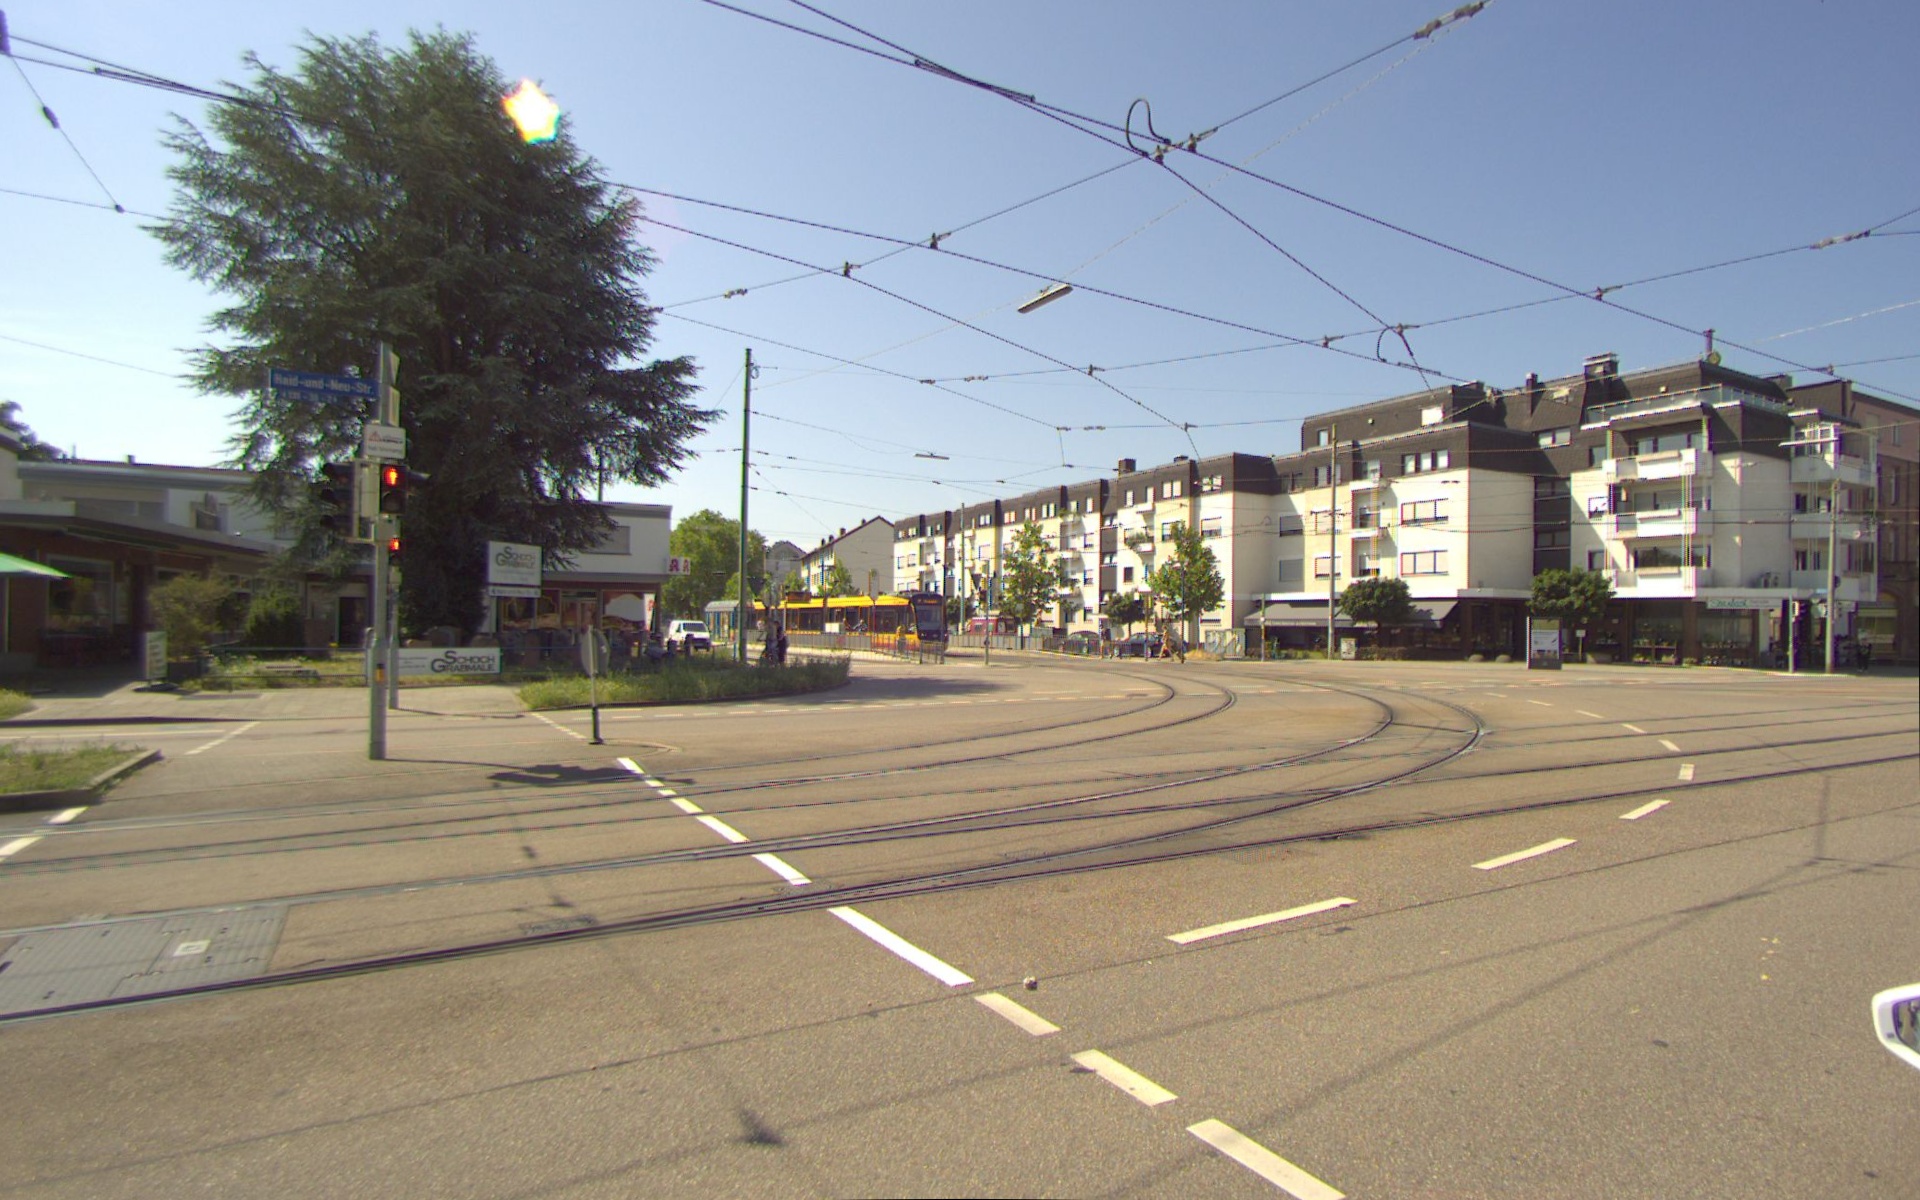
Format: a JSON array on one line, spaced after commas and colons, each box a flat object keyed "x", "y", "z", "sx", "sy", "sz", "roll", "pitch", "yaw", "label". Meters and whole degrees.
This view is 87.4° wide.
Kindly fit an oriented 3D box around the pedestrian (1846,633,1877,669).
[{"x": 42.904, "y": 2.411, "z": 47.829, "sx": 0.667, "sy": 1.669, "sz": 0.881, "roll": 0, "pitch": -1, "yaw": -2, "label": "pedestrian"}]

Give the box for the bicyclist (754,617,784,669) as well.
[{"x": -5.903, "y": 1.341, "z": 31.088, "sx": 0.619, "sy": 1.578, "sz": 0.766, "roll": -1, "pitch": -3, "yaw": 17, "label": "bicyclist"}]

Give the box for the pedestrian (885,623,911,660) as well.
[{"x": -3.118, "y": 2.080, "z": 50.639, "sx": 0.886, "sy": 1.862, "sz": 1.193, "roll": 1, "pitch": -2, "yaw": -29, "label": "pedestrian"}]

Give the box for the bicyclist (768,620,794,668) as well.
[{"x": -5.982, "y": 1.457, "z": 33.519, "sx": 0.619, "sy": 1.595, "sz": 0.766, "roll": 0, "pitch": -1, "yaw": 8, "label": "bicyclist"}]

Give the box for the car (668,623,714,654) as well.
[{"x": -16.993, "y": 2.392, "z": 63.388, "sx": 1.755, "sy": 1.886, "sz": 4.625, "roll": 1, "pitch": -2, "yaw": -29, "label": "car"}]

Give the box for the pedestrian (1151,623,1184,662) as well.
[{"x": 10.198, "y": 2.065, "z": 49.242, "sx": 1.411, "sy": 1.860, "sz": 1.122, "roll": 0, "pitch": -2, "yaw": 22, "label": "pedestrian"}]

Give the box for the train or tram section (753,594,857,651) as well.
[{"x": -11.378, "y": 1.658, "z": 71.932, "sx": 2.735, "sy": 3.706, "sz": 13.803, "roll": 1, "pitch": -2, "yaw": -29, "label": "train or tram section"}]

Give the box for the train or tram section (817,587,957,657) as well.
[{"x": -4.708, "y": 1.367, "z": 59.850, "sx": 2.735, "sy": 3.706, "sz": 13.803, "roll": 1, "pitch": -2, "yaw": -29, "label": "train or tram section"}]

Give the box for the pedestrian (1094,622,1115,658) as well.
[{"x": 7.336, "y": 2.019, "z": 51.045, "sx": 0.755, "sy": 1.783, "sz": 0.804, "roll": 1, "pitch": -2, "yaw": -34, "label": "pedestrian"}]

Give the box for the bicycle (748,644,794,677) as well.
[{"x": -5.847, "y": 1.853, "z": 31.173, "sx": 0.525, "sy": 0.959, "sz": 2.138, "roll": 0, "pitch": -2, "yaw": 15, "label": "bicycle"}]

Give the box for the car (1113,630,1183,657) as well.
[{"x": 11.064, "y": 2.526, "z": 59.409, "sx": 1.807, "sy": 1.520, "sz": 4.154, "roll": 1, "pitch": -2, "yaw": -30, "label": "car"}]

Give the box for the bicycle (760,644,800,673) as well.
[{"x": -6.005, "y": 1.946, "z": 33.654, "sx": 0.564, "sy": 0.902, "sz": 2.138, "roll": 0, "pitch": -2, "yaw": 12, "label": "bicycle"}]

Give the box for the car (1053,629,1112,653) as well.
[{"x": 7.848, "y": 2.607, "z": 64.775, "sx": 1.807, "sy": 1.520, "sz": 3.969, "roll": 1, "pitch": -2, "yaw": -30, "label": "car"}]

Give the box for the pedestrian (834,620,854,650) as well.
[{"x": -6.702, "y": 2.023, "z": 58.044, "sx": 0.804, "sy": 1.702, "sz": 1.086, "roll": 1, "pitch": -2, "yaw": -29, "label": "pedestrian"}]

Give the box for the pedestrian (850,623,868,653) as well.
[{"x": -5.679, "y": 2.132, "z": 56.356, "sx": 0.775, "sy": 1.648, "sz": 0.655, "roll": 1, "pitch": -2, "yaw": -29, "label": "pedestrian"}]

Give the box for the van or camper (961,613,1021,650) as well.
[{"x": 2.267, "y": 2.353, "z": 74.778, "sx": 2.348, "sy": 2.659, "sz": 4.852, "roll": 1, "pitch": -2, "yaw": -30, "label": "van or camper"}]
